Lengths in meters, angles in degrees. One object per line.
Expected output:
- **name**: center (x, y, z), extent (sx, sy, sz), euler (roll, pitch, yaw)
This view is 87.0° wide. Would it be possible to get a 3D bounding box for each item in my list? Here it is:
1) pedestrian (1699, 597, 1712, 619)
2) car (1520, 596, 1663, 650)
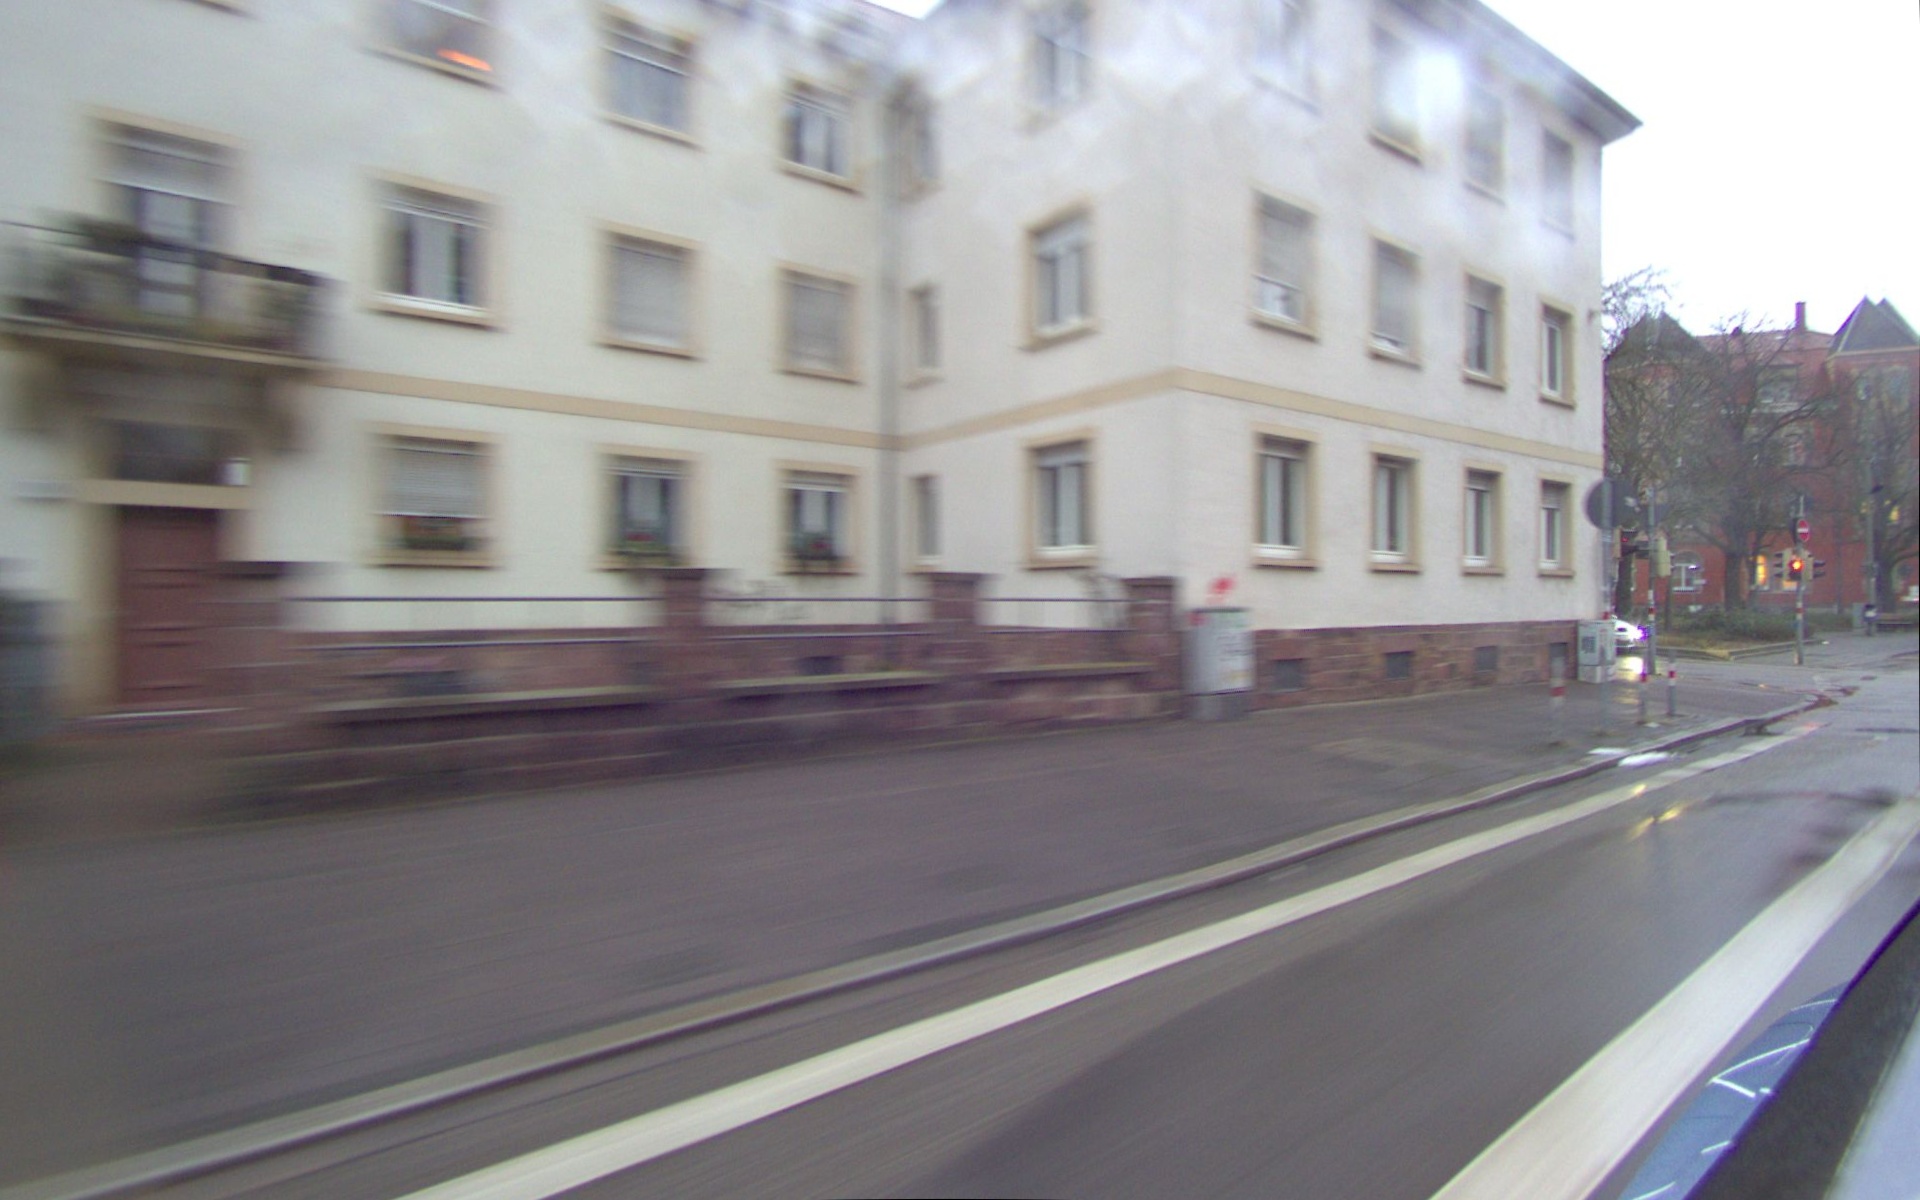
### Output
- **pedestrian**: center (46.018, 0.502, 62.431), extent (0.544, 1.333, 0.599), euler (-3, -3, 42)
- **car**: center (19.992, 0.674, 32.299), extent (1.866, 1.529, 4.748), euler (0, 1, 5)
